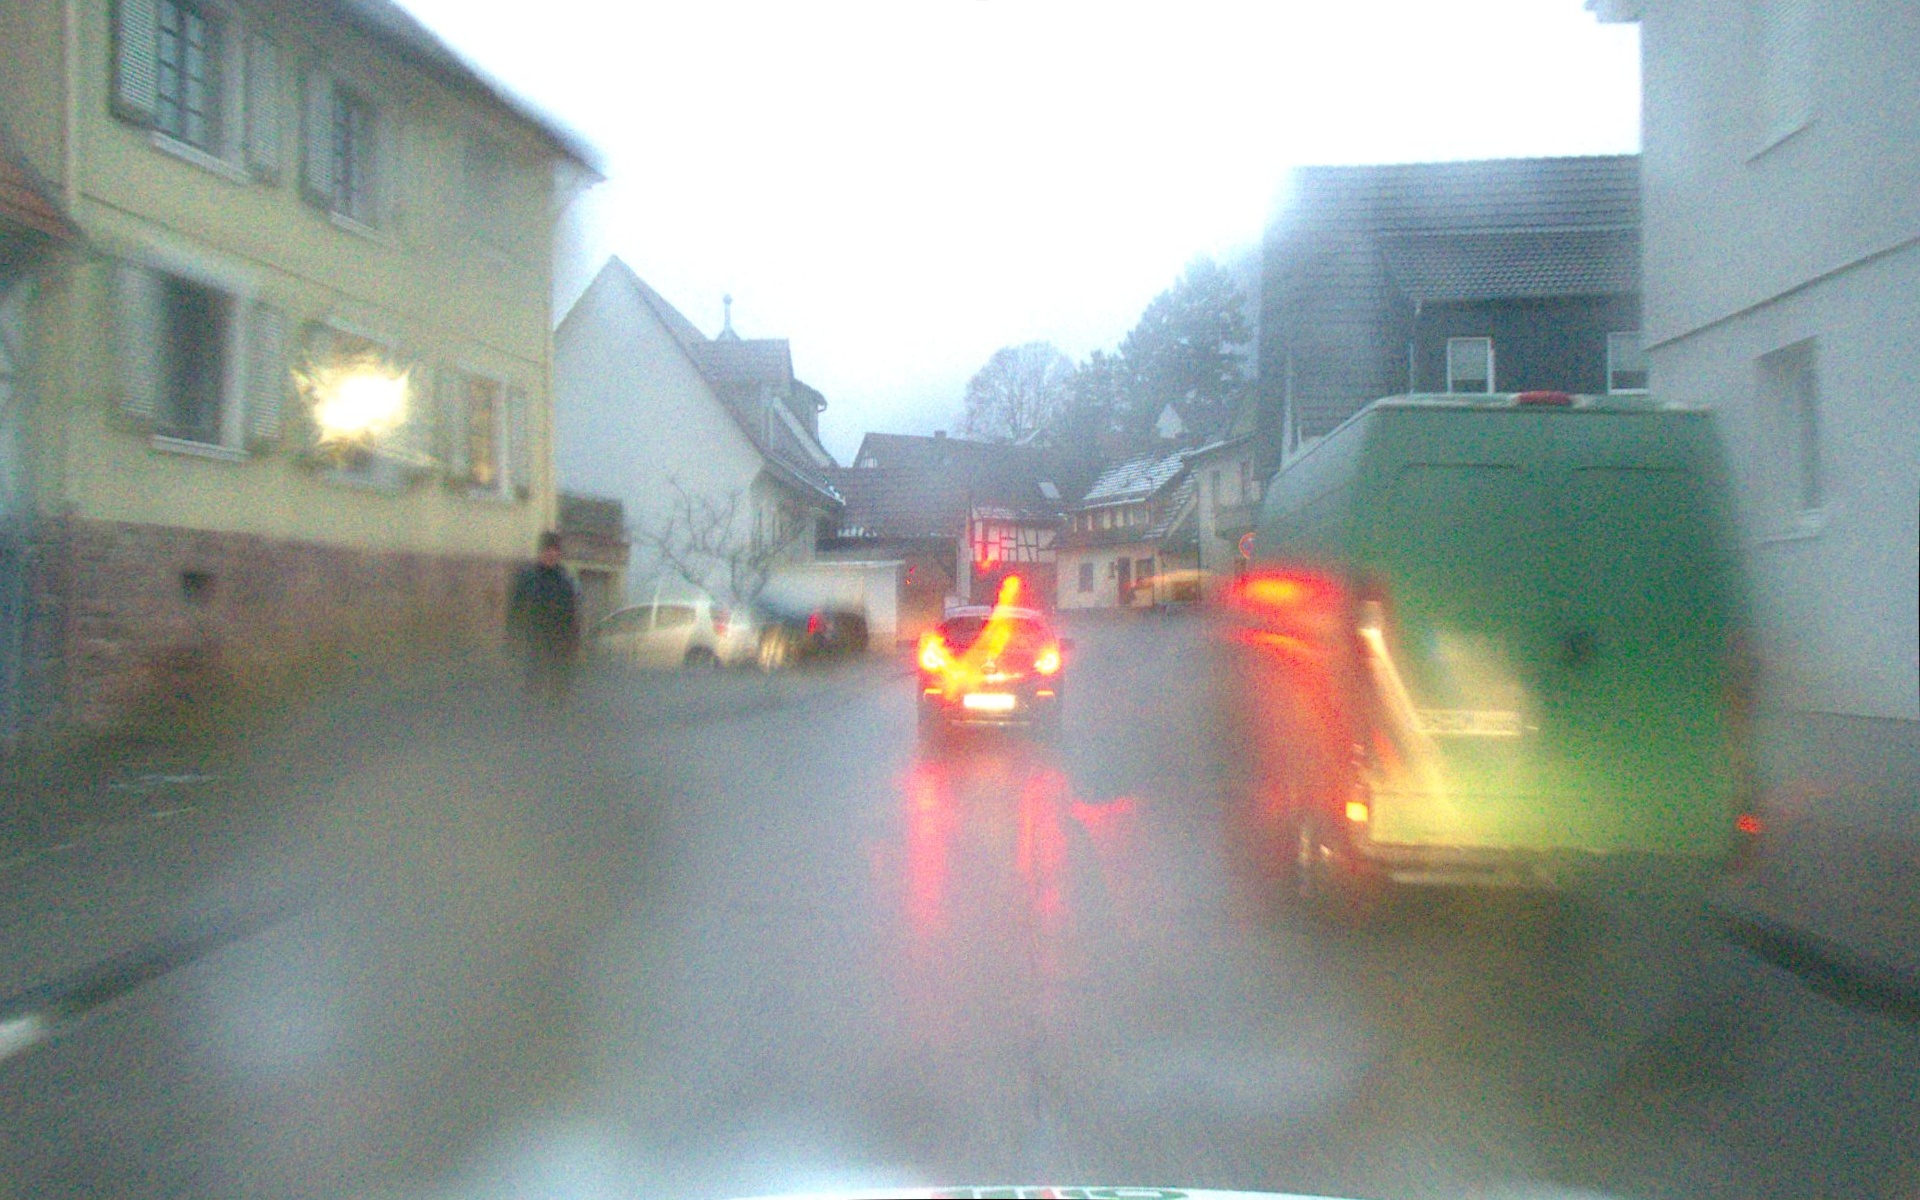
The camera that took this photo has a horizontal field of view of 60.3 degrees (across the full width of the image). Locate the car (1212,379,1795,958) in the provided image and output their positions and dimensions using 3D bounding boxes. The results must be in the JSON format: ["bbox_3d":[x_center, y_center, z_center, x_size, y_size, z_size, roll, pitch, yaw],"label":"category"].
[{"bbox_3d":[2.792,0.290,10.020,1.967,2.497,5.617,1,0,3],"label":"car"}]

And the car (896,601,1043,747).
[{"bbox_3d":[0.186,0.762,19.011,1.514,1.491,3.700,0,0,3],"label":"car"}]

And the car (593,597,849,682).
[{"bbox_3d":[-4.555,0.744,31.880,4.496,1.496,2.001,-1,0,6],"label":"car"}]

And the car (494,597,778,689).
[{"bbox_3d":[-5.676,0.746,29.194,4.504,1.496,1.893,-1,0,10],"label":"car"}]

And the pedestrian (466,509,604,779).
[{"bbox_3d":[-3.355,0.340,13.112,0.767,2.049,0.870,1,-1,5],"label":"pedestrian"}]

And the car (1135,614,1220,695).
[{"bbox_3d":[4.363,1.049,33.420,1.603,1.497,4.003,1,0,7],"label":"car"}]
